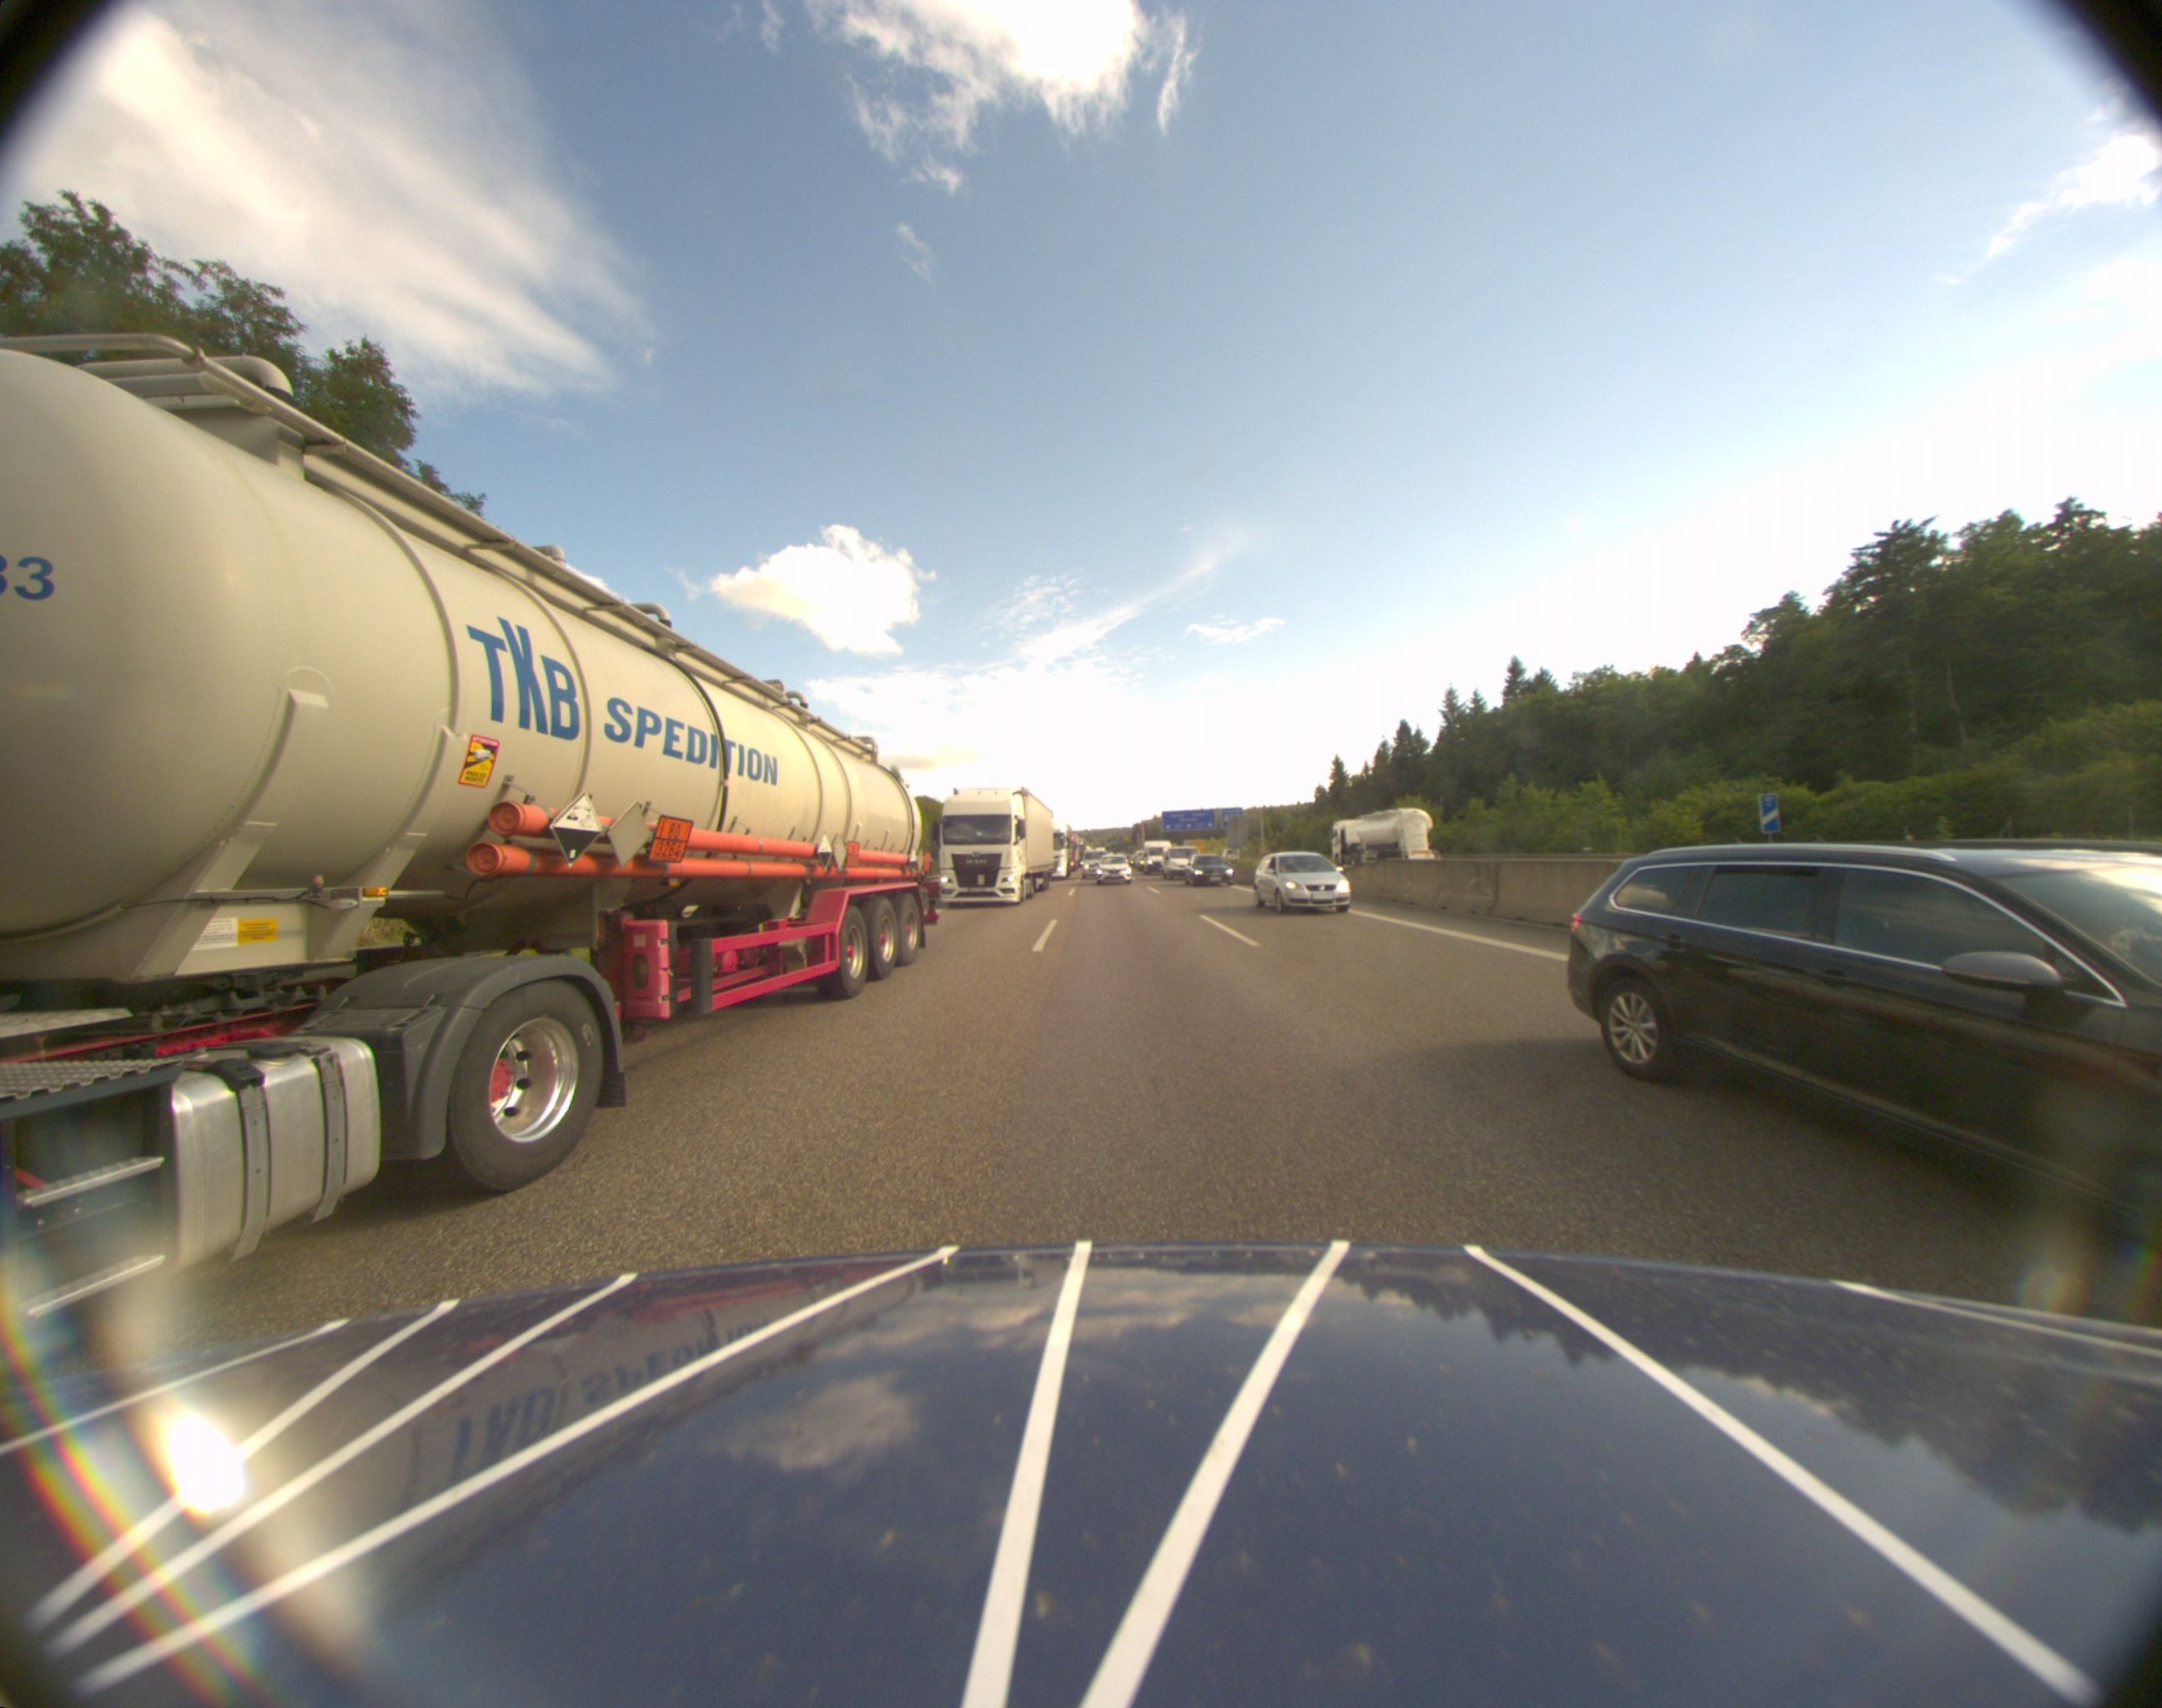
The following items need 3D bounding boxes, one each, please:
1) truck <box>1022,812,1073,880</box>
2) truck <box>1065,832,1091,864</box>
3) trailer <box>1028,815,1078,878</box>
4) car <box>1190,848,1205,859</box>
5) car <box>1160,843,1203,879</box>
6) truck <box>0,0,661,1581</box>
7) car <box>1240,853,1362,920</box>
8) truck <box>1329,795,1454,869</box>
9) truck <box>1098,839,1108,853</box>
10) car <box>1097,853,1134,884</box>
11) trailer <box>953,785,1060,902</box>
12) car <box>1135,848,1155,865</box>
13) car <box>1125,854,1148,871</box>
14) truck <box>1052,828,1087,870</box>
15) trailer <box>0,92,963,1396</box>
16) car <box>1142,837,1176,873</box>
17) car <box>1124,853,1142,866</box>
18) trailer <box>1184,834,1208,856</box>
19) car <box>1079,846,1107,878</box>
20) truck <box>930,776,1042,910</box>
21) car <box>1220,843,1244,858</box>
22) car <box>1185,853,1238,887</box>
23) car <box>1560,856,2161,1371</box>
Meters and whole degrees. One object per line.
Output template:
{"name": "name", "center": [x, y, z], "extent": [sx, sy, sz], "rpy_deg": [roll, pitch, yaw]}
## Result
{"name": "truck", "center": [-2.150, -0.523, 51.272], "extent": [2.841, 4.177, 5.708], "rpy_deg": [-2, 0, 2]}
{"name": "truck", "center": [-0.318, -0.894, 108.221], "extent": [2.840, 4.178, 12.045], "rpy_deg": [-2, 1, 3]}
{"name": "trailer", "center": [-1.922, -0.546, 58.534], "extent": [2.841, 4.177, 13.613], "rpy_deg": [-2, 0, 2]}
{"name": "car", "center": [19.361, -0.126, 126.368], "extent": [1.857, 1.799, 4.323], "rpy_deg": [-2, 0, 1]}
{"name": "car", "center": [5.937, 0.394, 45.208], "extent": [1.947, 1.953, 4.848], "rpy_deg": [-2, 0, 1]}
{"name": "truck", "center": [-3.991, -0.273, 1.446], "extent": [2.809, 4.020, 5.904], "rpy_deg": [-2, 1, 2]}
{"name": "car", "center": [5.433, 0.722, 19.397], "extent": [1.809, 1.423, 4.666], "rpy_deg": [-2, 0, 1]}
{"name": "truck", "center": [20.880, -1.429, 52.517], "extent": [2.939, 4.329, 13.908], "rpy_deg": [-2, 1, 0]}
{"name": "truck", "center": [6.997, -2.680, 239.167], "extent": [2.840, 4.178, 12.045], "rpy_deg": [-2, 1, 3]}
{"name": "car", "center": [1.807, 0.742, 41.074], "extent": [1.809, 1.488, 4.666], "rpy_deg": [-1, 0, 1]}
{"name": "trailer", "center": [-2.796, -0.407, 33.511], "extent": [2.832, 4.047, 13.372], "rpy_deg": [-2, 0, 2]}
{"name": "car", "center": [7.104, 0.246, 84.123], "extent": [1.920, 1.785, 3.811], "rpy_deg": [-2, 0, 1]}
{"name": "car", "center": [5.002, 0.746, 68.635], "extent": [1.809, 1.423, 3.660], "rpy_deg": [-2, 0, 1]}
{"name": "truck", "center": [-1.145, -0.589, 82.441], "extent": [2.840, 4.178, 12.045], "rpy_deg": [-2, 1, 3]}
{"name": "trailer", "center": [-3.766, -0.311, 7.972], "extent": [2.805, 4.003, 11.182], "rpy_deg": [-2, 0, 2]}
{"name": "car", "center": [5.861, 0.082, 57.789], "extent": [2.054, 2.557, 5.861], "rpy_deg": [-1, 0, 1]}
{"name": "car", "center": [6.350, 0.665, 93.219], "extent": [1.920, 1.535, 3.811], "rpy_deg": [-2, 0, 1]}
{"name": "trailer", "center": [23.504, -1.814, 155.915], "extent": [2.841, 4.178, 13.561], "rpy_deg": [-2, 1, 1]}
{"name": "car", "center": [0.832, 0.532, 52.203], "extent": [1.809, 2.052, 4.770], "rpy_deg": [-2, 0, 1]}
{"name": "truck", "center": [-3.056, -0.361, 26.222], "extent": [2.840, 4.048, 5.708], "rpy_deg": [-2, 1, 2]}
{"name": "car", "center": [17.466, -0.402, 88.021], "extent": [1.857, 1.702, 4.323], "rpy_deg": [-2, 0, 1]}
{"name": "car", "center": [5.959, 0.686, 35.210], "extent": [1.809, 1.423, 3.994], "rpy_deg": [-2, 0, 1]}
{"name": "car", "center": [4.230, 0.787, 3.049], "extent": [1.915, 1.469, 4.569], "rpy_deg": [-2, 0, 3]}
